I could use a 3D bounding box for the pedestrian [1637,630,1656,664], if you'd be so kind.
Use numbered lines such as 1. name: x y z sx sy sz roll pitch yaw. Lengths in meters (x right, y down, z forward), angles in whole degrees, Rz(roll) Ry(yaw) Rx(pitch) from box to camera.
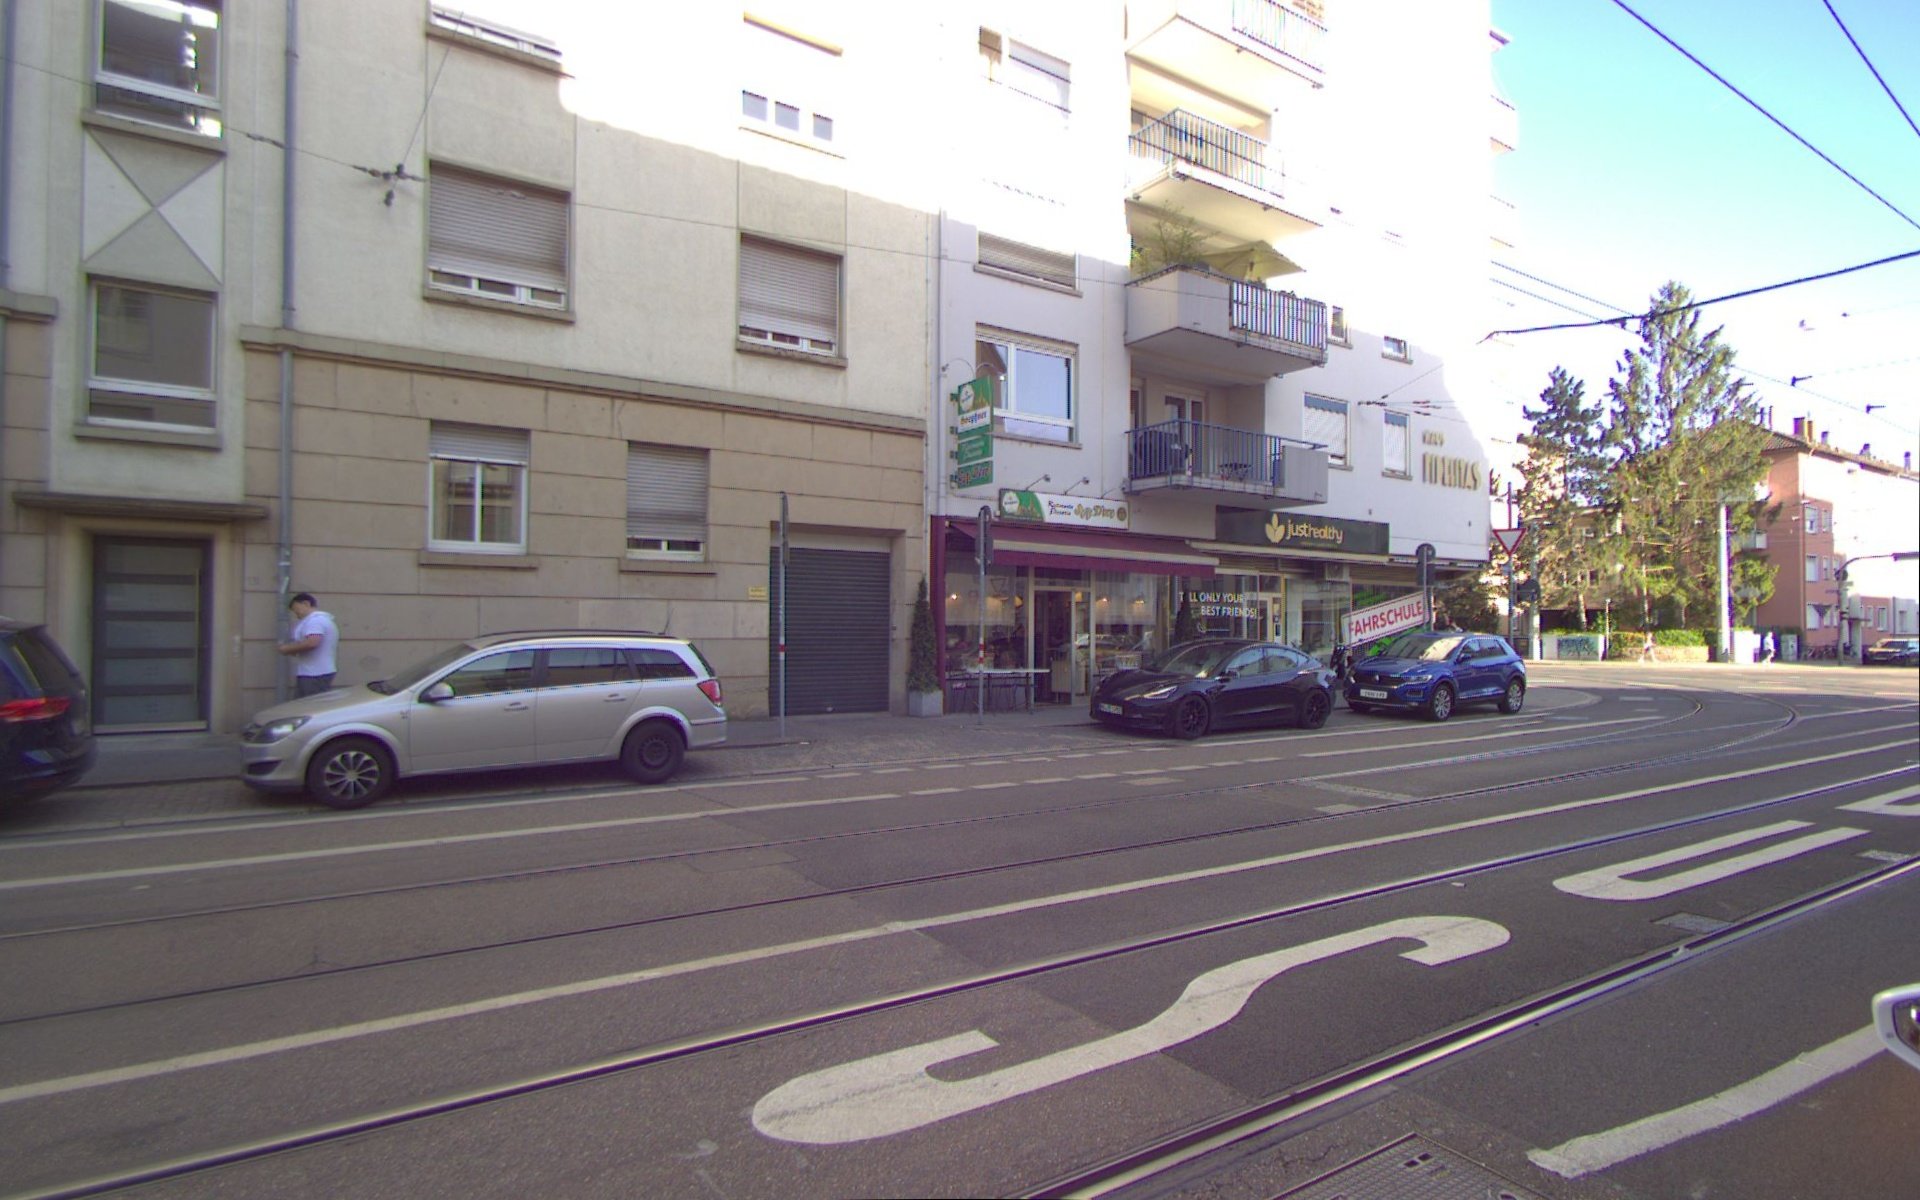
1. pedestrian: 36.272 2.486 53.097 0.772 1.744 0.702 2 0 37

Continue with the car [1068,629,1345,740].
1. car: 4.003 1.274 16.053 4.398 1.494 1.759 2 0 -33

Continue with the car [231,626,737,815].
1. car: -4.645 1.063 10.161 4.327 1.474 1.714 2 1 -35

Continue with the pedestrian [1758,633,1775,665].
1. pedestrian: 40.530 2.464 50.483 0.508 1.589 0.573 2 0 25

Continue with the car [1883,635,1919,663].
1. car: 54.293 2.775 56.910 4.057 1.456 1.893 2 0 -32

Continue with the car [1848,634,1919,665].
1. car: 49.728 2.649 53.884 4.397 1.450 2.140 4 -2 -35

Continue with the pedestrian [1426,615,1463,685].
1. pedestrian: 13.743 1.411 28.493 0.727 1.925 0.573 3 -2 -15

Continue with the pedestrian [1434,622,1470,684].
1. pedestrian: 14.686 1.574 29.977 0.653 1.816 0.733 1 -1 -27

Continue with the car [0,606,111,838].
1. car: -8.997 0.862 7.162 4.282 1.655 1.802 2 1 -35

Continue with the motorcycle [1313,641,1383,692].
1. motorcycle: 9.236 1.574 23.889 1.778 1.149 0.603 2 0 -34

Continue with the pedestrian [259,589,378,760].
1. pedestrian: -7.129 0.795 11.168 0.998 1.791 0.656 2 0 -40

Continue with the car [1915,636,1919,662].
1. car: 58.283 2.940 59.380 4.185 1.546 1.731 2 0 -34

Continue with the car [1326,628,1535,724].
1. car: 8.998 1.351 19.097 4.196 1.524 1.757 0 1 -36
